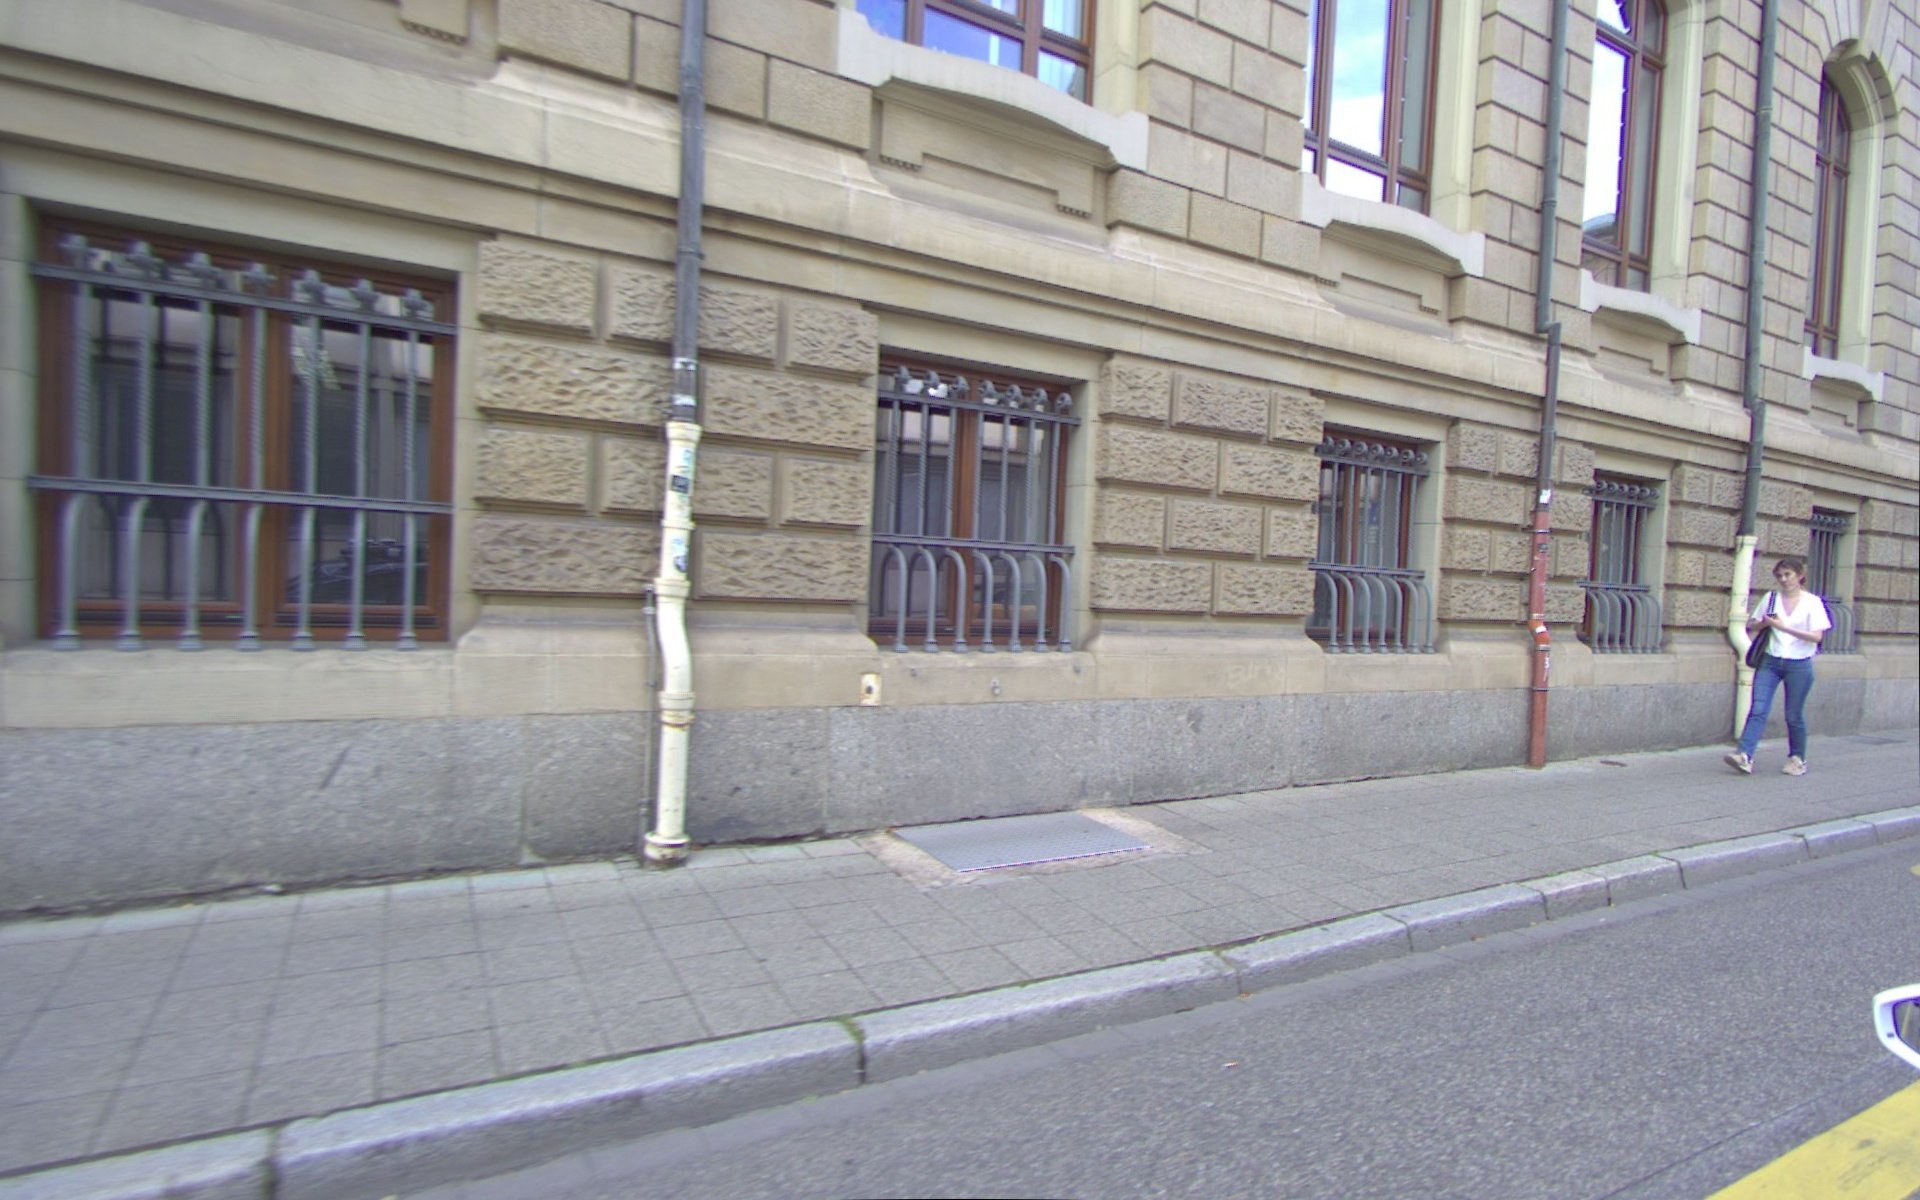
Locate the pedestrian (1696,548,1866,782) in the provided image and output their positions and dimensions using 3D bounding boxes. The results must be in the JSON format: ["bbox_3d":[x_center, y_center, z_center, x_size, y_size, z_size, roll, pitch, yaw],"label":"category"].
[{"bbox_3d":[6.932,0.519,8.488,1.035,1.844,0.660,2,3,-30],"label":"pedestrian"}]
